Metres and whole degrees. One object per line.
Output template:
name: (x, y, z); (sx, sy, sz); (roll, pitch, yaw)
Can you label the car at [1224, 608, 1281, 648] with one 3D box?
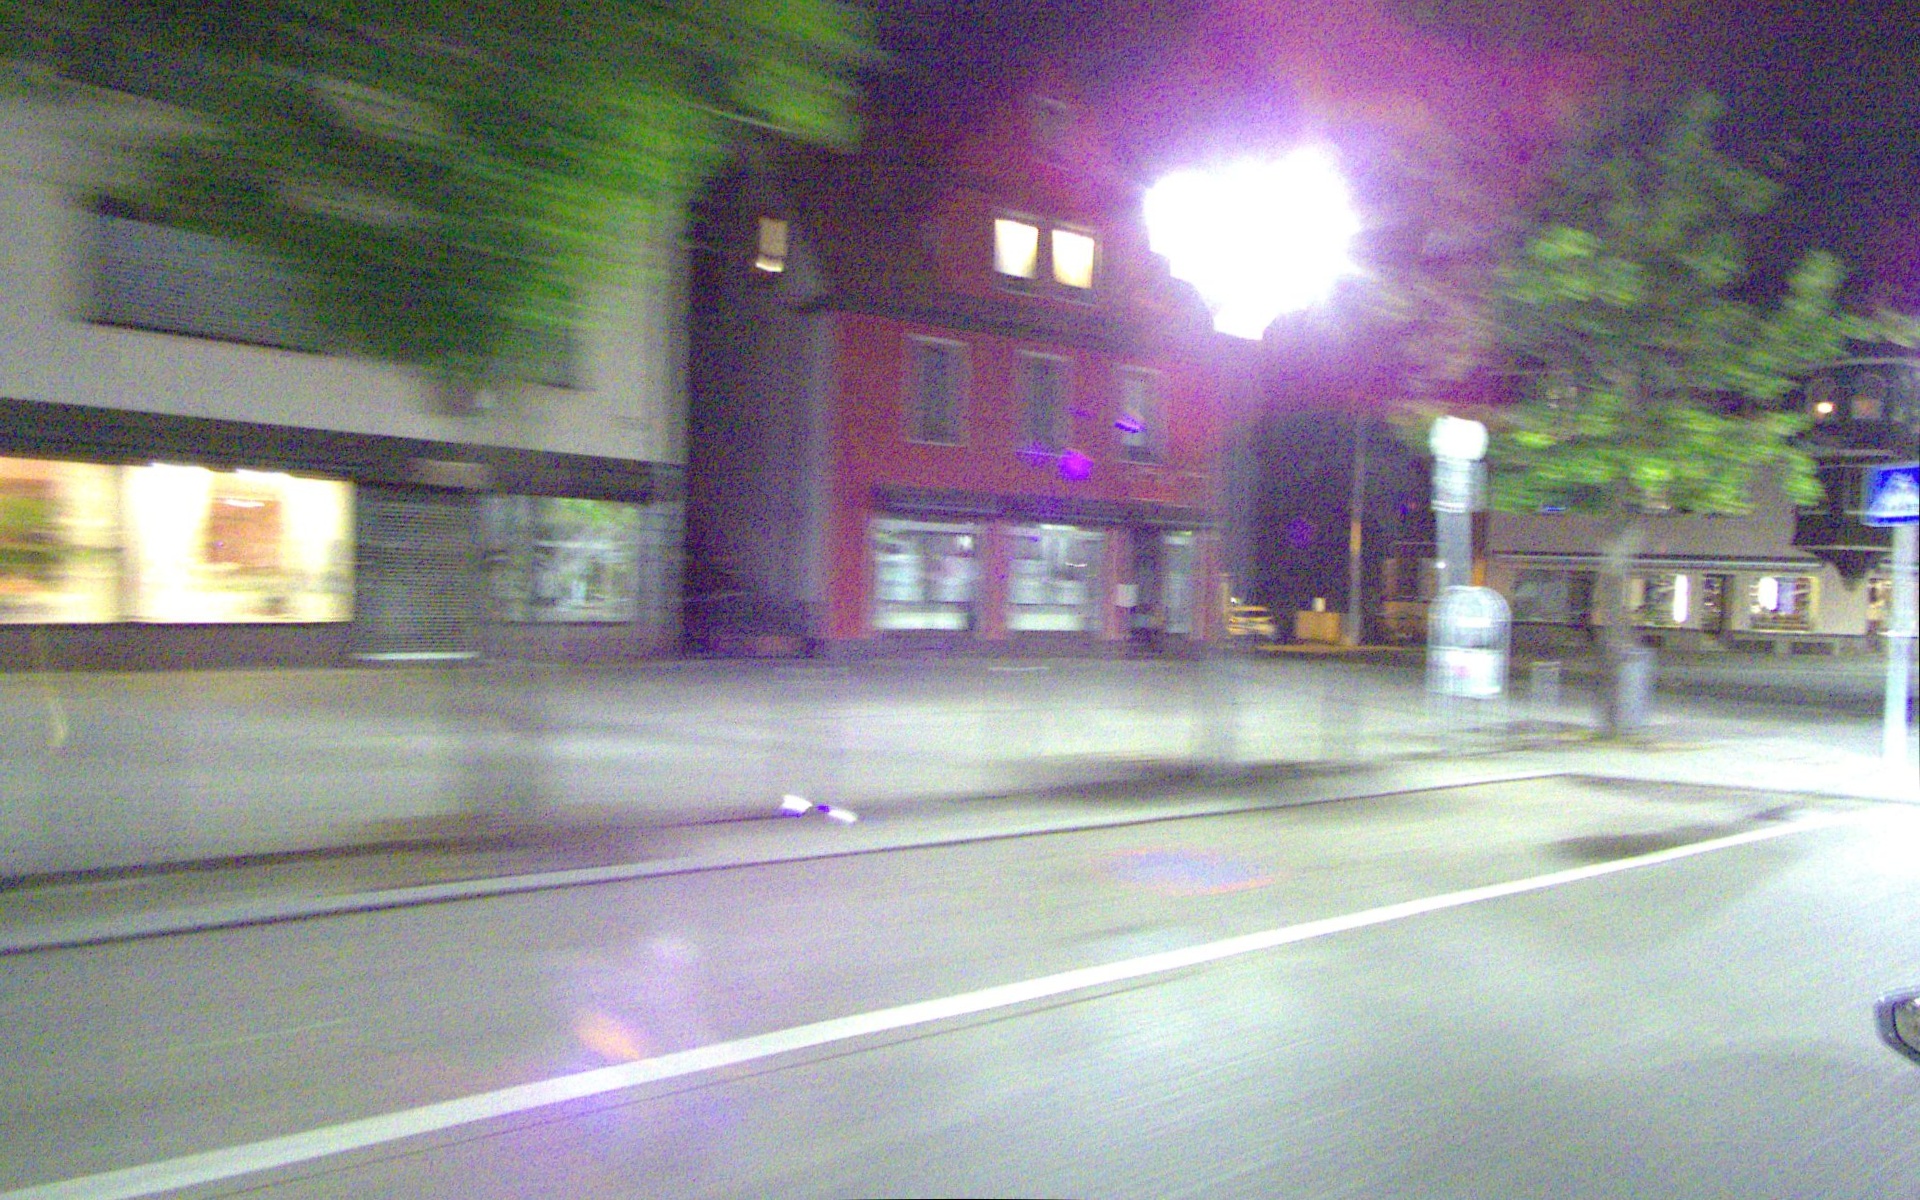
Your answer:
car: (11.478, 1.055, 39.635); (1.882, 1.461, 4.002); (0, 0, 13)
